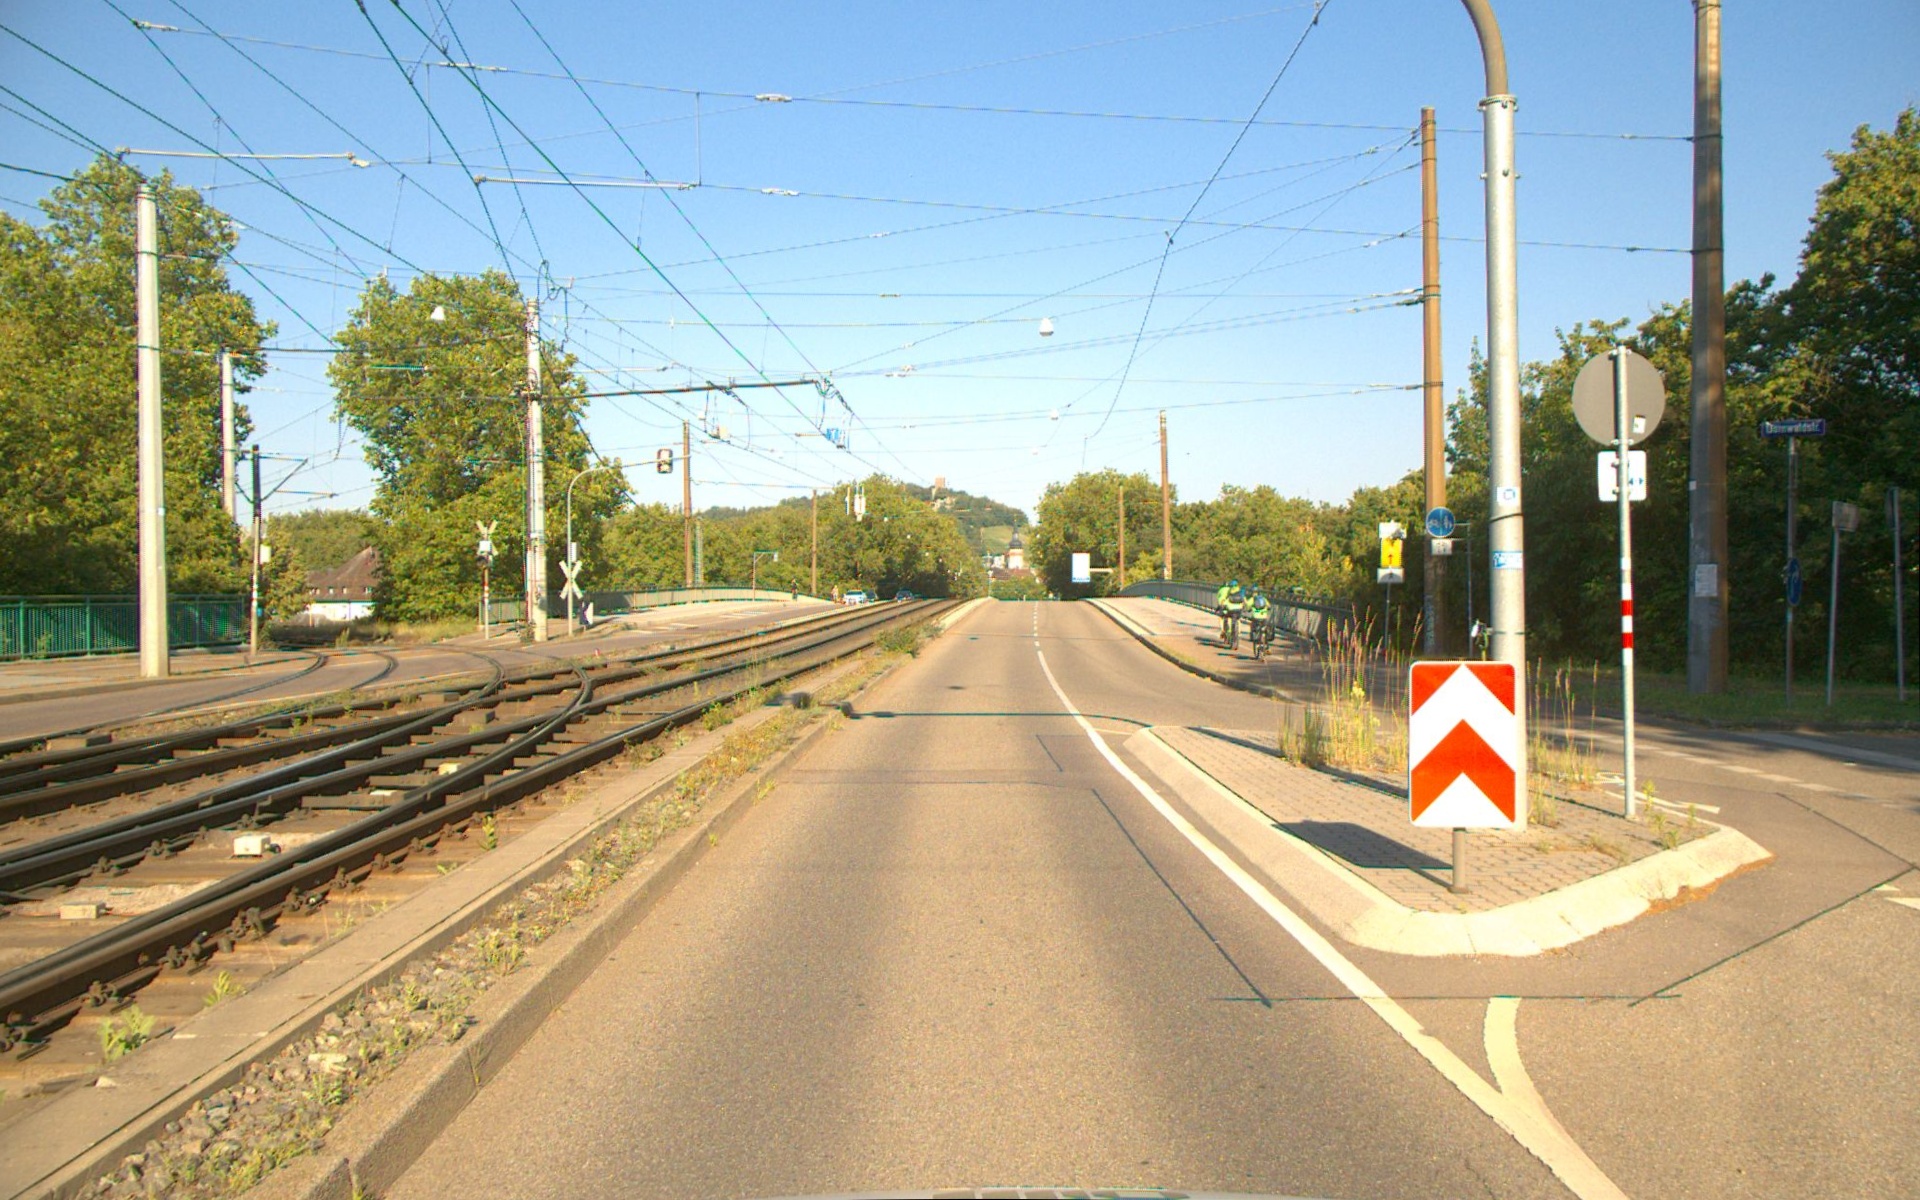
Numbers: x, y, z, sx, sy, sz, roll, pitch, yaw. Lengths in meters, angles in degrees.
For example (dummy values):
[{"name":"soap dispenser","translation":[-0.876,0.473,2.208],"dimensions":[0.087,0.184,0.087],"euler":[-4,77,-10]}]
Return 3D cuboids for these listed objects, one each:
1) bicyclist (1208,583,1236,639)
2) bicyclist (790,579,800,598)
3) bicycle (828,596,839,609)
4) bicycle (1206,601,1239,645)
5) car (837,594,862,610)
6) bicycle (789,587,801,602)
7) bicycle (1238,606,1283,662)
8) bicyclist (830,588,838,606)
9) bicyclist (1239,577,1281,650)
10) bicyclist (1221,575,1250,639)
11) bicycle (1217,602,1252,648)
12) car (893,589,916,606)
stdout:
[{"name":"bicyclist","translation":[7.202,0.291,45.453],"dimensions":[0.612,1.534,1.006],"euler":[0,0,1]},{"name":"bicyclist","translation":[-12.939,-0.903,129.698],"dimensions":[0.612,1.457,0.969],"euler":[0,0,2]},{"name":"bicycle","translation":[-11.689,0.224,153.396],"dimensions":[0.612,1.142,2.261],"euler":[0,0,6]},{"name":"bicycle","translation":[7.194,0.612,45.412],"dimensions":[0.612,1.142,2.260],"euler":[0,0,1]},{"name":"car","translation":[-9.516,0.170,143.123],"dimensions":[1.649,1.380,4.922],"euler":[0,0,2]},{"name":"bicycle","translation":[-12.940,-0.407,129.658],"dimensions":[0.612,1.142,2.260],"euler":[0,0,3]},{"name":"bicycle","translation":[6.639,0.731,36.637],"dimensions":[0.669,1.142,2.217],"euler":[0,1,2]},{"name":"bicyclist","translation":[-11.696,-0.266,153.334],"dimensions":[0.612,1.662,0.936],"euler":[0,0,6]},{"name":"bicyclist","translation":[6.628,0.294,36.612],"dimensions":[0.795,1.589,0.897],"euler":[0,1,2]},{"name":"bicyclist","translation":[7.047,0.185,42.304],"dimensions":[0.612,1.620,0.931],"euler":[0,0,2]},{"name":"bicycle","translation":[7.011,0.614,42.289],"dimensions":[0.612,1.142,2.042],"euler":[0,0,2]},{"name":"car","translation":[-5.117,-0.264,153.914],"dimensions":[1.810,1.528,4.220],"euler":[0,0,2]}]
